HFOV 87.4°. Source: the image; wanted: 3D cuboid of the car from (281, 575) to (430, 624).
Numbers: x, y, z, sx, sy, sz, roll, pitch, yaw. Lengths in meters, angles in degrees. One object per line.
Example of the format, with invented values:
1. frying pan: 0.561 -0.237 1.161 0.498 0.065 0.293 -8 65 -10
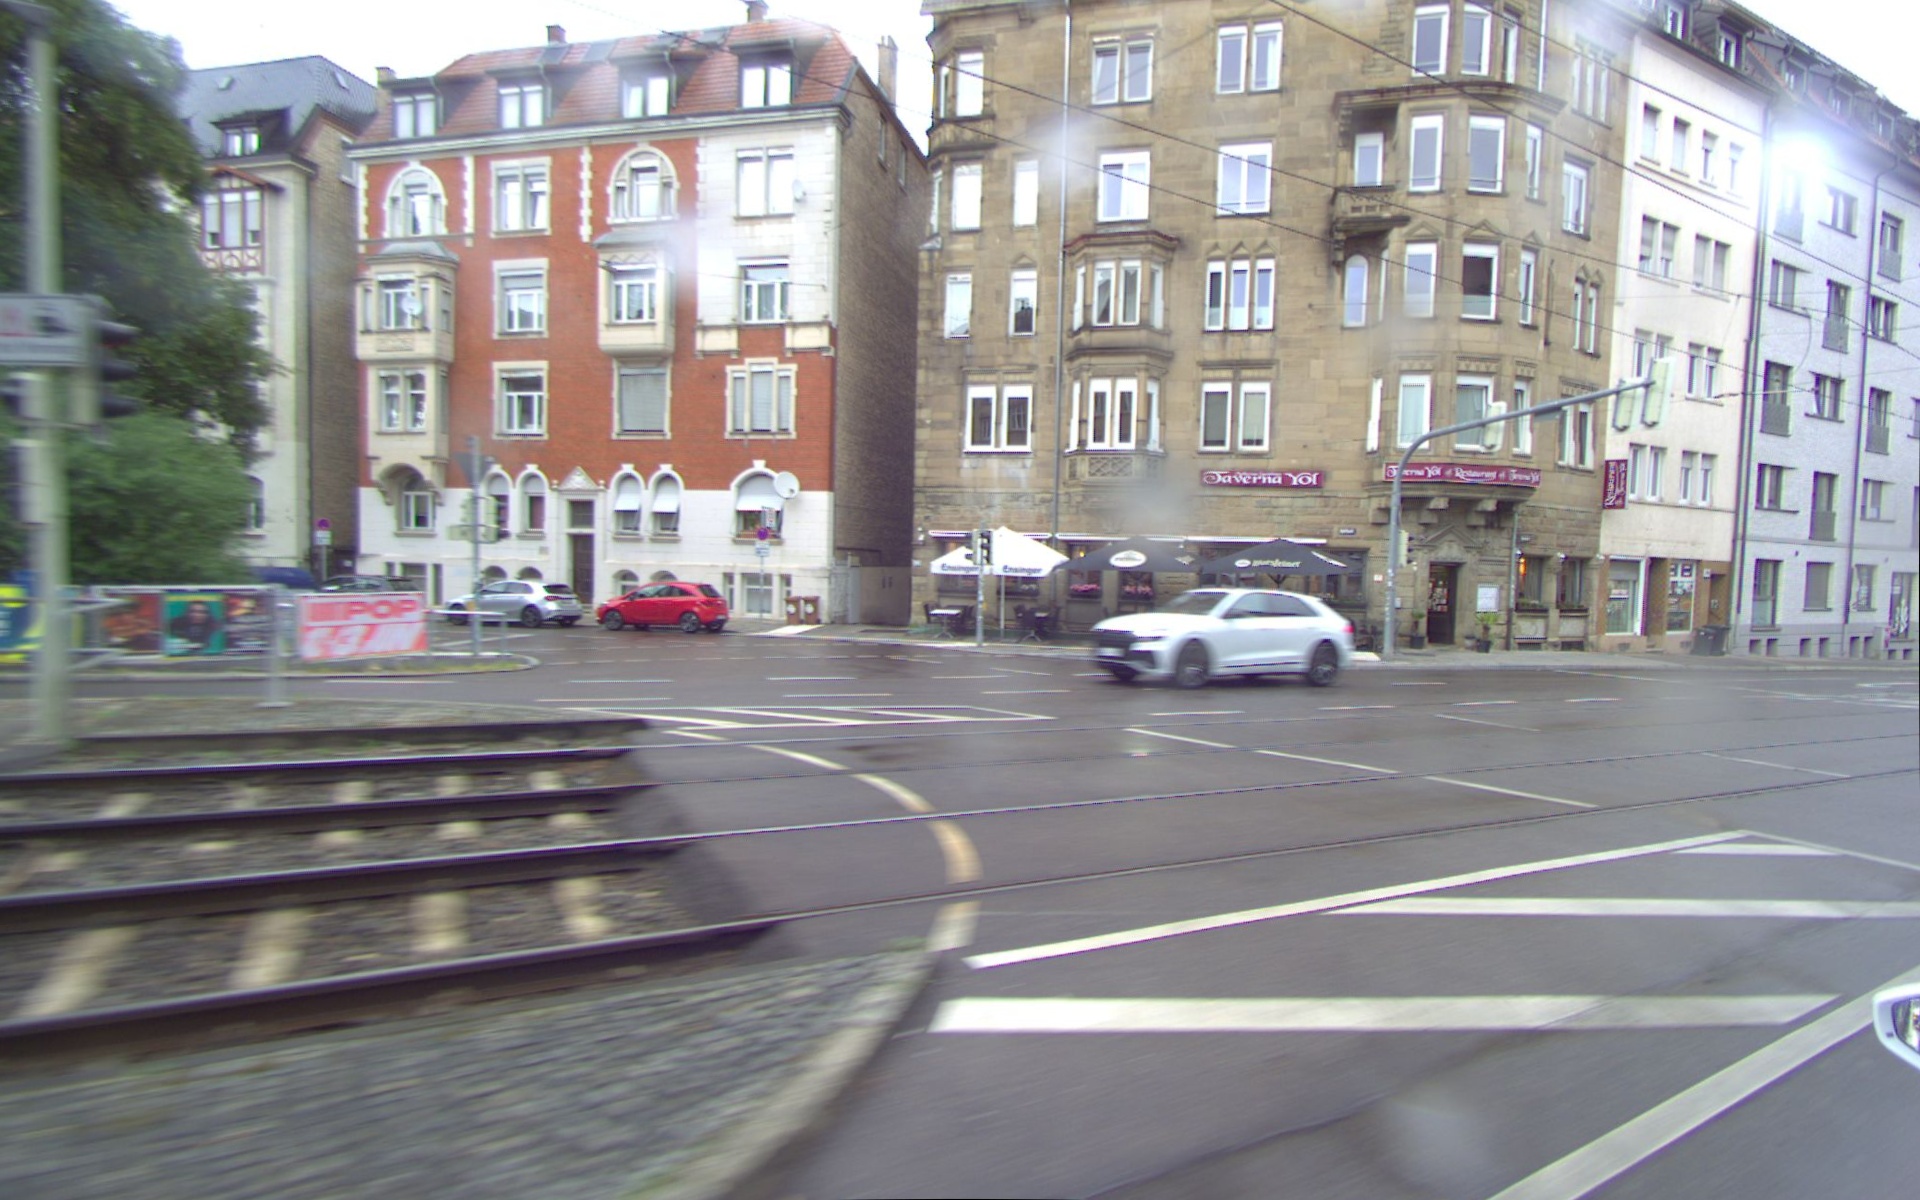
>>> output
1. car: -19.607 -0.017 32.645 4.059 1.421 1.743 2 0 13

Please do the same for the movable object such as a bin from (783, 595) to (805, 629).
1. movable object such as a bin: -5.342 0.375 32.311 0.540 1.056 0.722 2 0 2

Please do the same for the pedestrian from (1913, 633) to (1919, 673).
1. pedestrian: 44.060 2.448 45.765 0.913 1.810 0.637 3 -1 -30

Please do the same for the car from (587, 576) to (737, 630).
1. car: -8.864 0.084 30.010 3.919 1.421 1.743 2 0 13

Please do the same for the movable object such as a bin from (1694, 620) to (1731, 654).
1. movable object such as a bin: 25.984 1.270 34.673 0.679 1.088 0.709 2 4 -29

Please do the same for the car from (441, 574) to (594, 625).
1. car: -13.704 -0.008 31.171 4.083 1.421 1.743 2 0 13

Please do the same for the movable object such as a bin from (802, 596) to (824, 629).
1. movable object such as a bin: -4.755 0.400 32.430 0.540 1.056 0.722 2 0 2

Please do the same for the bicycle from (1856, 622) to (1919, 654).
1. bicycle: 51.616 2.099 55.368 1.585 1.605 3.120 2 0 -40

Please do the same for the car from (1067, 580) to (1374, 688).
1. car: 4.579 0.560 17.462 5.187 1.649 1.985 2 0 -28

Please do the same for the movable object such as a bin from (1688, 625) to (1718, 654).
1. movable object such as a bin: 25.393 1.334 34.334 0.553 0.923 0.591 2 4 -29
